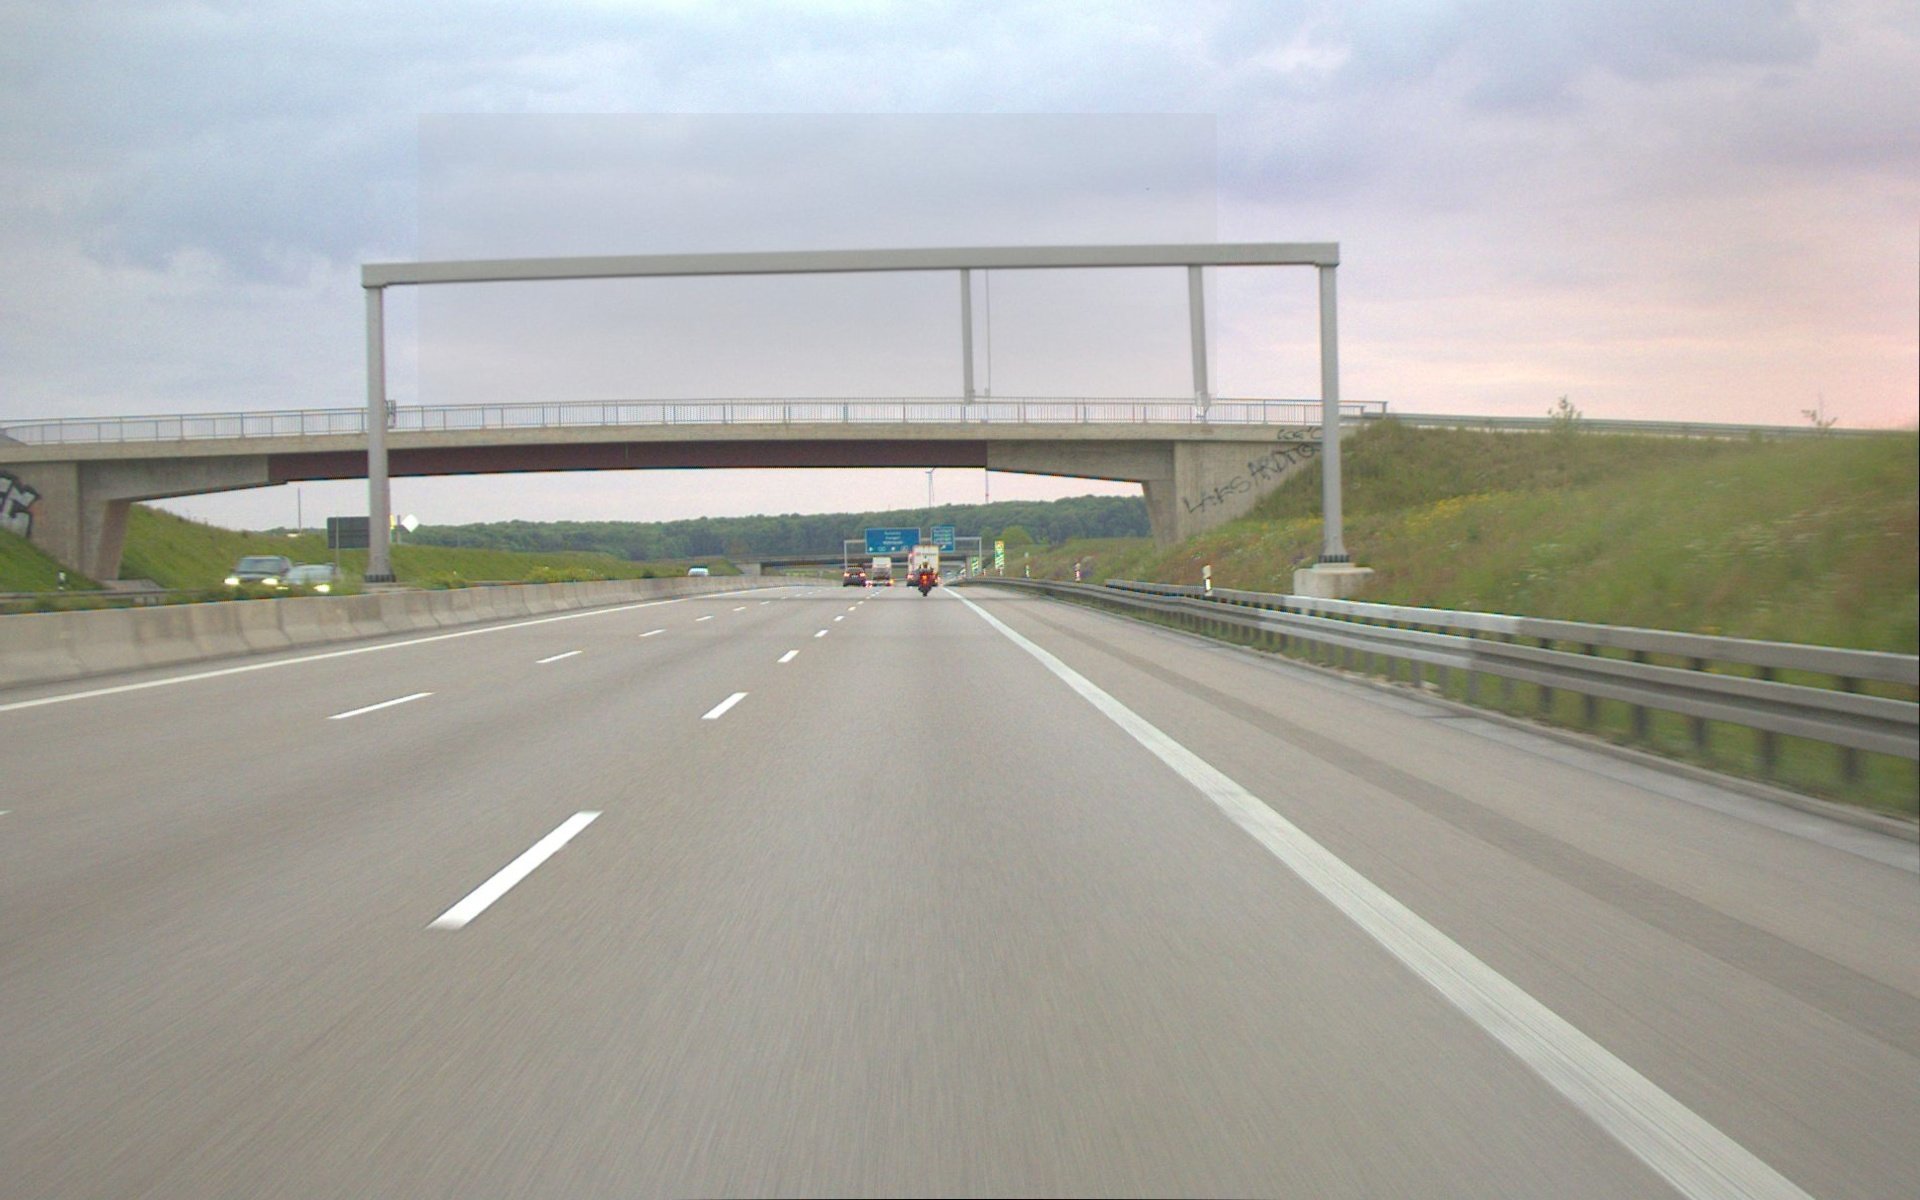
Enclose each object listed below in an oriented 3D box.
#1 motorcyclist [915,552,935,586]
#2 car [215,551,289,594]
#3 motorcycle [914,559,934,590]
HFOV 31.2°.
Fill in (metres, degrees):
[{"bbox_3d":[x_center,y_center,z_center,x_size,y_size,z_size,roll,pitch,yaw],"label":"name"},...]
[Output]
[{"bbox_3d":[-1.581,-1.369,153.142,0.865,1.482,1.168,1,0,-1],"label":"motorcyclist"},{"bbox_3d":[-24.817,-0.976,120.610,1.813,1.453,4.000,0,1,-1],"label":"car"},{"bbox_3d":[-1.597,-1.134,153.032,0.902,1.342,2.349,0,1,-1],"label":"motorcycle"}]
